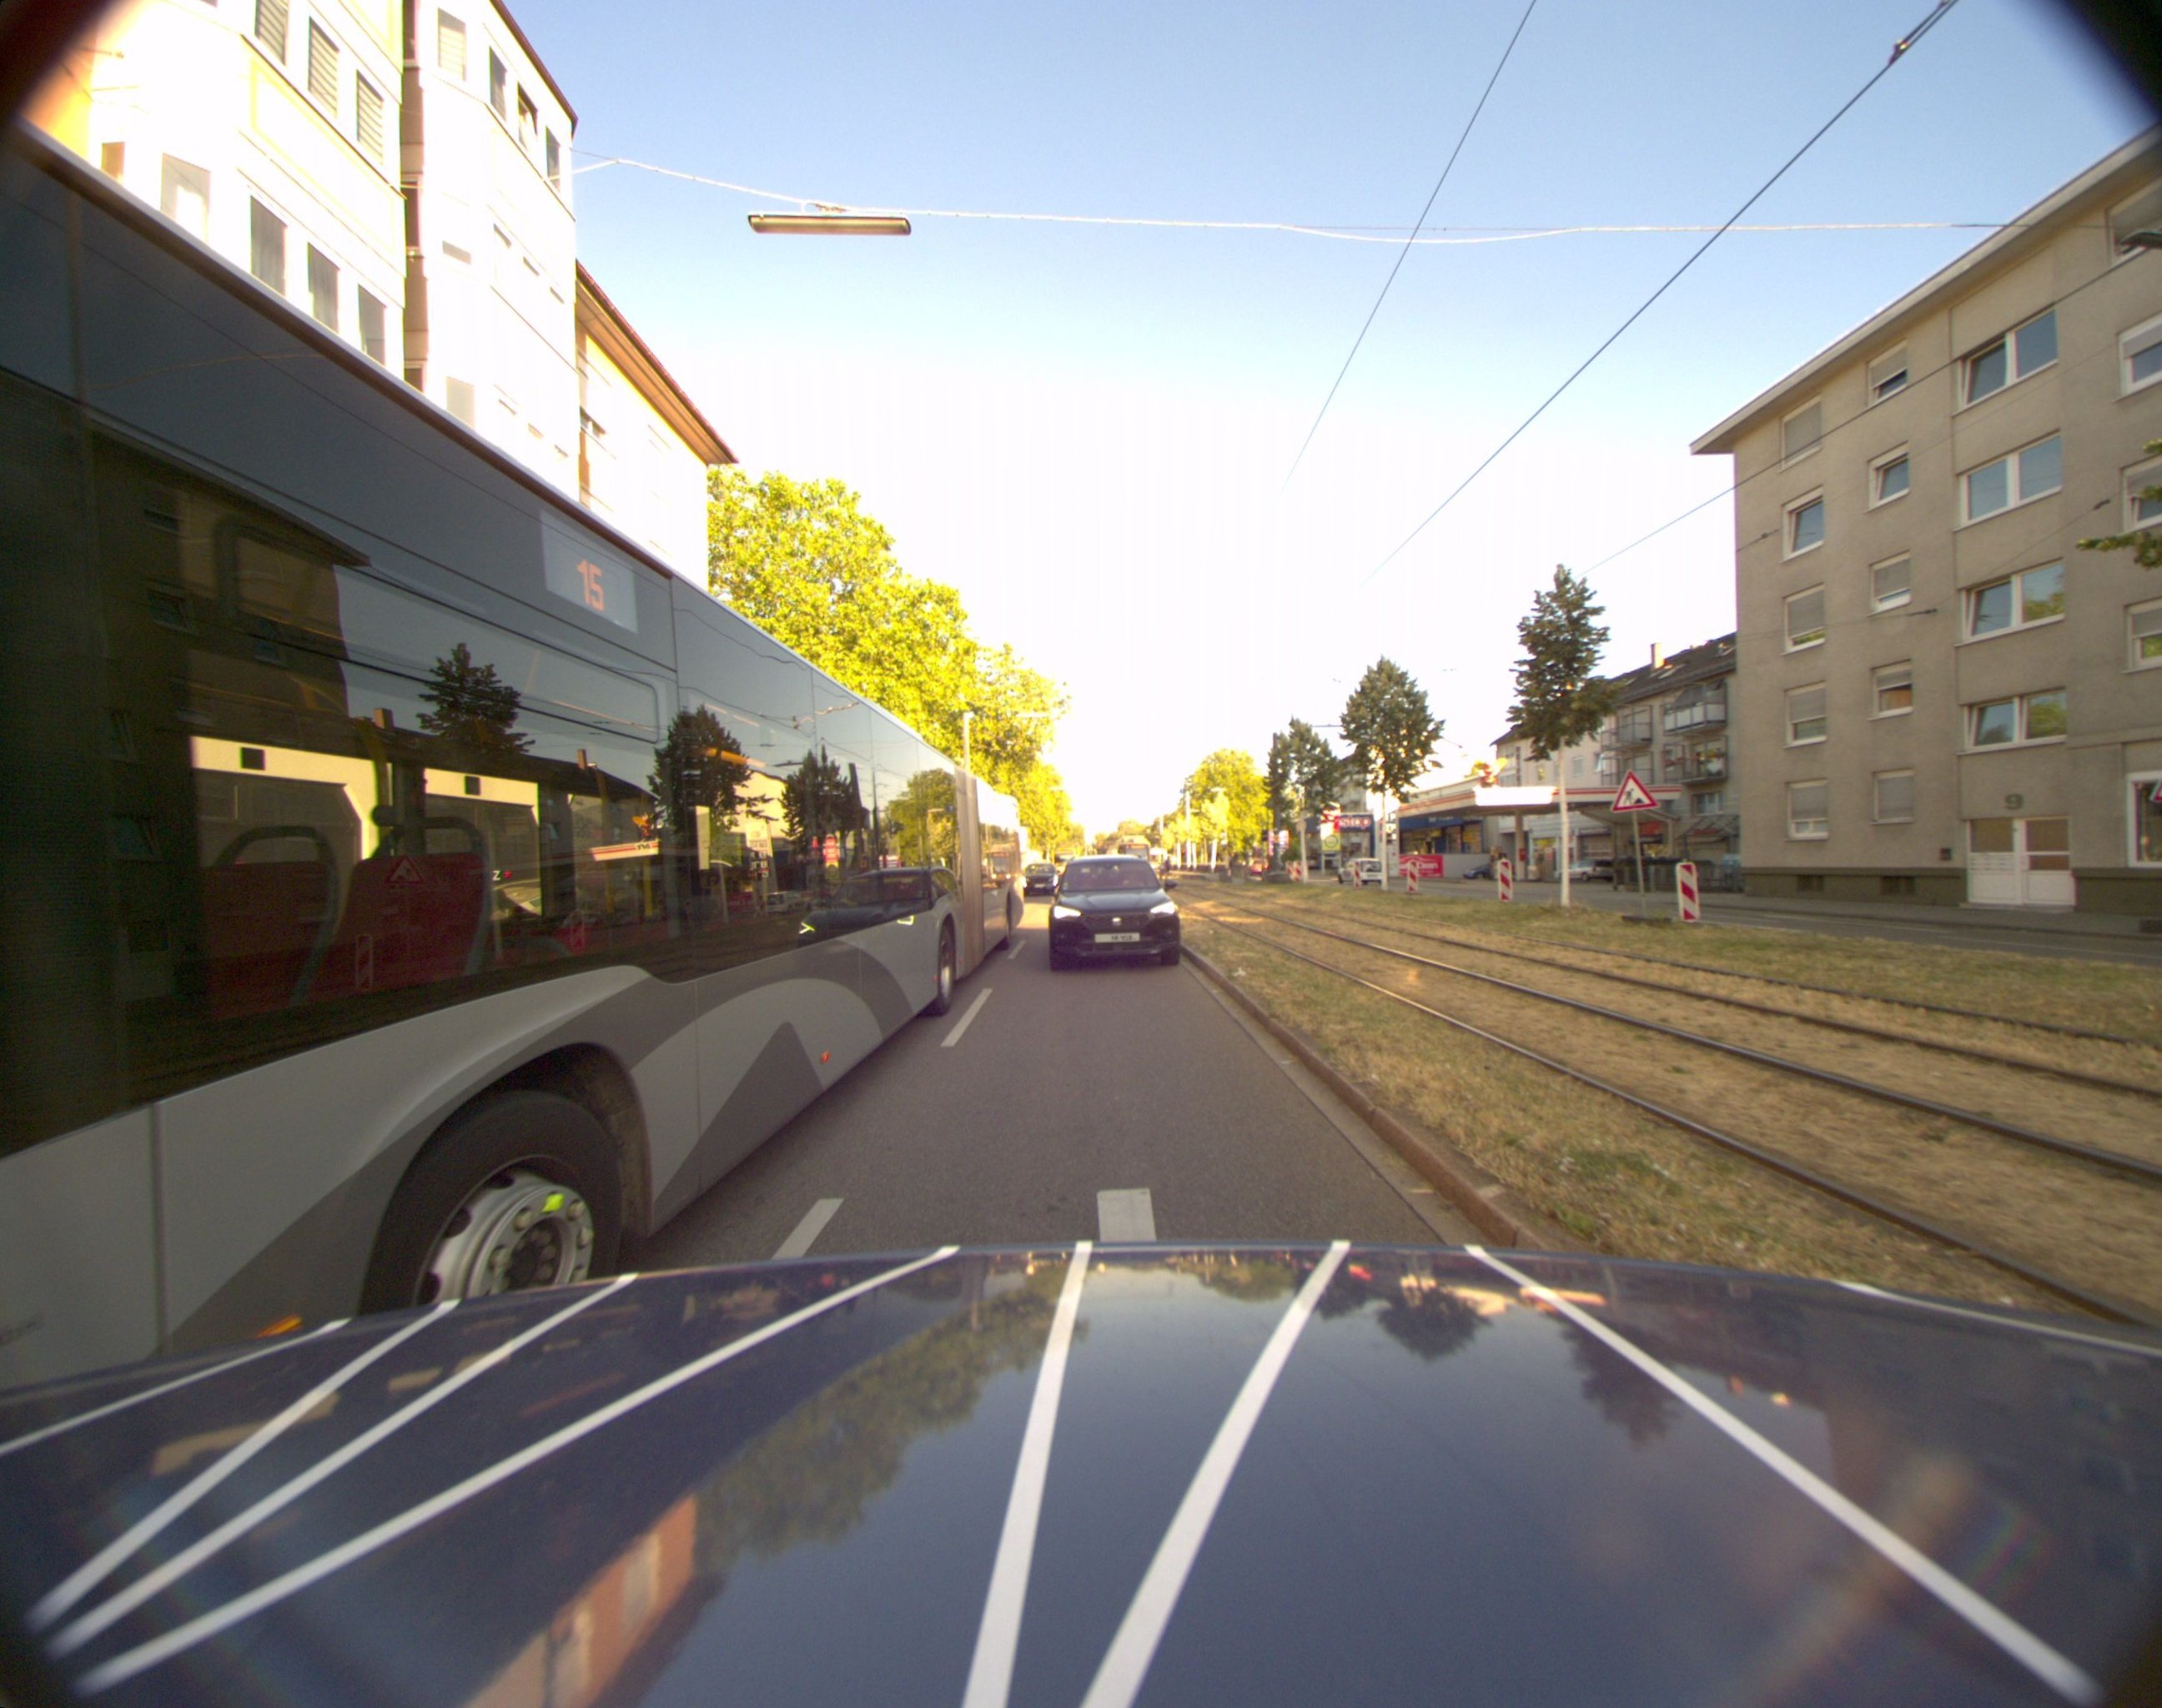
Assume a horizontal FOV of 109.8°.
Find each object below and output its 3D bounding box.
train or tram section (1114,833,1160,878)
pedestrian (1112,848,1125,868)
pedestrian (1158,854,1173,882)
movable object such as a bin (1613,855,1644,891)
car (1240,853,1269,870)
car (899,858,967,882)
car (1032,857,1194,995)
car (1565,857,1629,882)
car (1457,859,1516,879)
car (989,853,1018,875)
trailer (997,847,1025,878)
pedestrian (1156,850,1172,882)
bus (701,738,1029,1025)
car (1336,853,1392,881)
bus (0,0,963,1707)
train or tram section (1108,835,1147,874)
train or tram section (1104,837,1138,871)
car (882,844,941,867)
[{"bbox_3d":[4.558,0.083,64.209,3.043,3.497,10.095,0,0,-1],"label":"train or tram section"},{"bbox_3d":[3.016,0.311,61.006,0.918,1.541,0.789,-2,0,-8],"label":"pedestrian"},{"bbox_3d":[5.276,0.864,47.375,0.755,1.736,0.860,-1,0,-3],"label":"pedestrian"},{"bbox_3d":[21.355,0.733,29.655,0.665,1.392,0.749,-1,0,-1],"label":"movable object such as a bin"},{"bbox_3d":[16.166,0.673,71.069,1.816,1.551,4.935,-1,0,3],"label":"car"},{"bbox_3d":[-9.800,1.064,50.598,4.122,1.486,1.803,-1,0,2],"label":"car"},{"bbox_3d":[0.427,0.908,11.436,1.910,1.606,4.086,-3,0,1],"label":"car"},{"bbox_3d":[33.990,0.991,50.150,1.816,1.514,3.830,-3,0,5],"label":"car"},{"bbox_3d":[32.853,1.222,61.661,3.803,1.514,1.818,-1,0,3],"label":"car"},{"bbox_3d":[-5.955,0.760,59.014,1.800,1.621,4.000,0,-1,1],"label":"car"},{"bbox_3d":[-5.996,0.730,65.571,1.890,2.573,4.651,-1,0,1],"label":"trailer"},{"bbox_3d":[5.082,0.755,46.510,0.860,1.920,0.755,-1,0,-2],"label":"pedestrian"},{"bbox_3d":[-2.678,0.330,12.761,2.745,3.038,8.854,-2,0,1],"label":"bus"},{"bbox_3d":[15.910,0.723,42.928,1.816,1.503,3.829,0,0,2],"label":"car"},{"bbox_3d":[-2.795,0.279,3.822,2.745,3.038,9.131,-2,0,1],"label":"bus"},{"bbox_3d":[4.445,0.030,74.315,3.043,3.497,10.095,0,0,-1],"label":"train or tram section"},{"bbox_3d":[4.334,-0.018,84.431,3.043,3.497,10.095,0,0,-1],"label":"train or tram section"},{"bbox_3d":[-13.248,0.115,59.452,4.122,1.541,1.803,-3,0,2],"label":"car"}]
